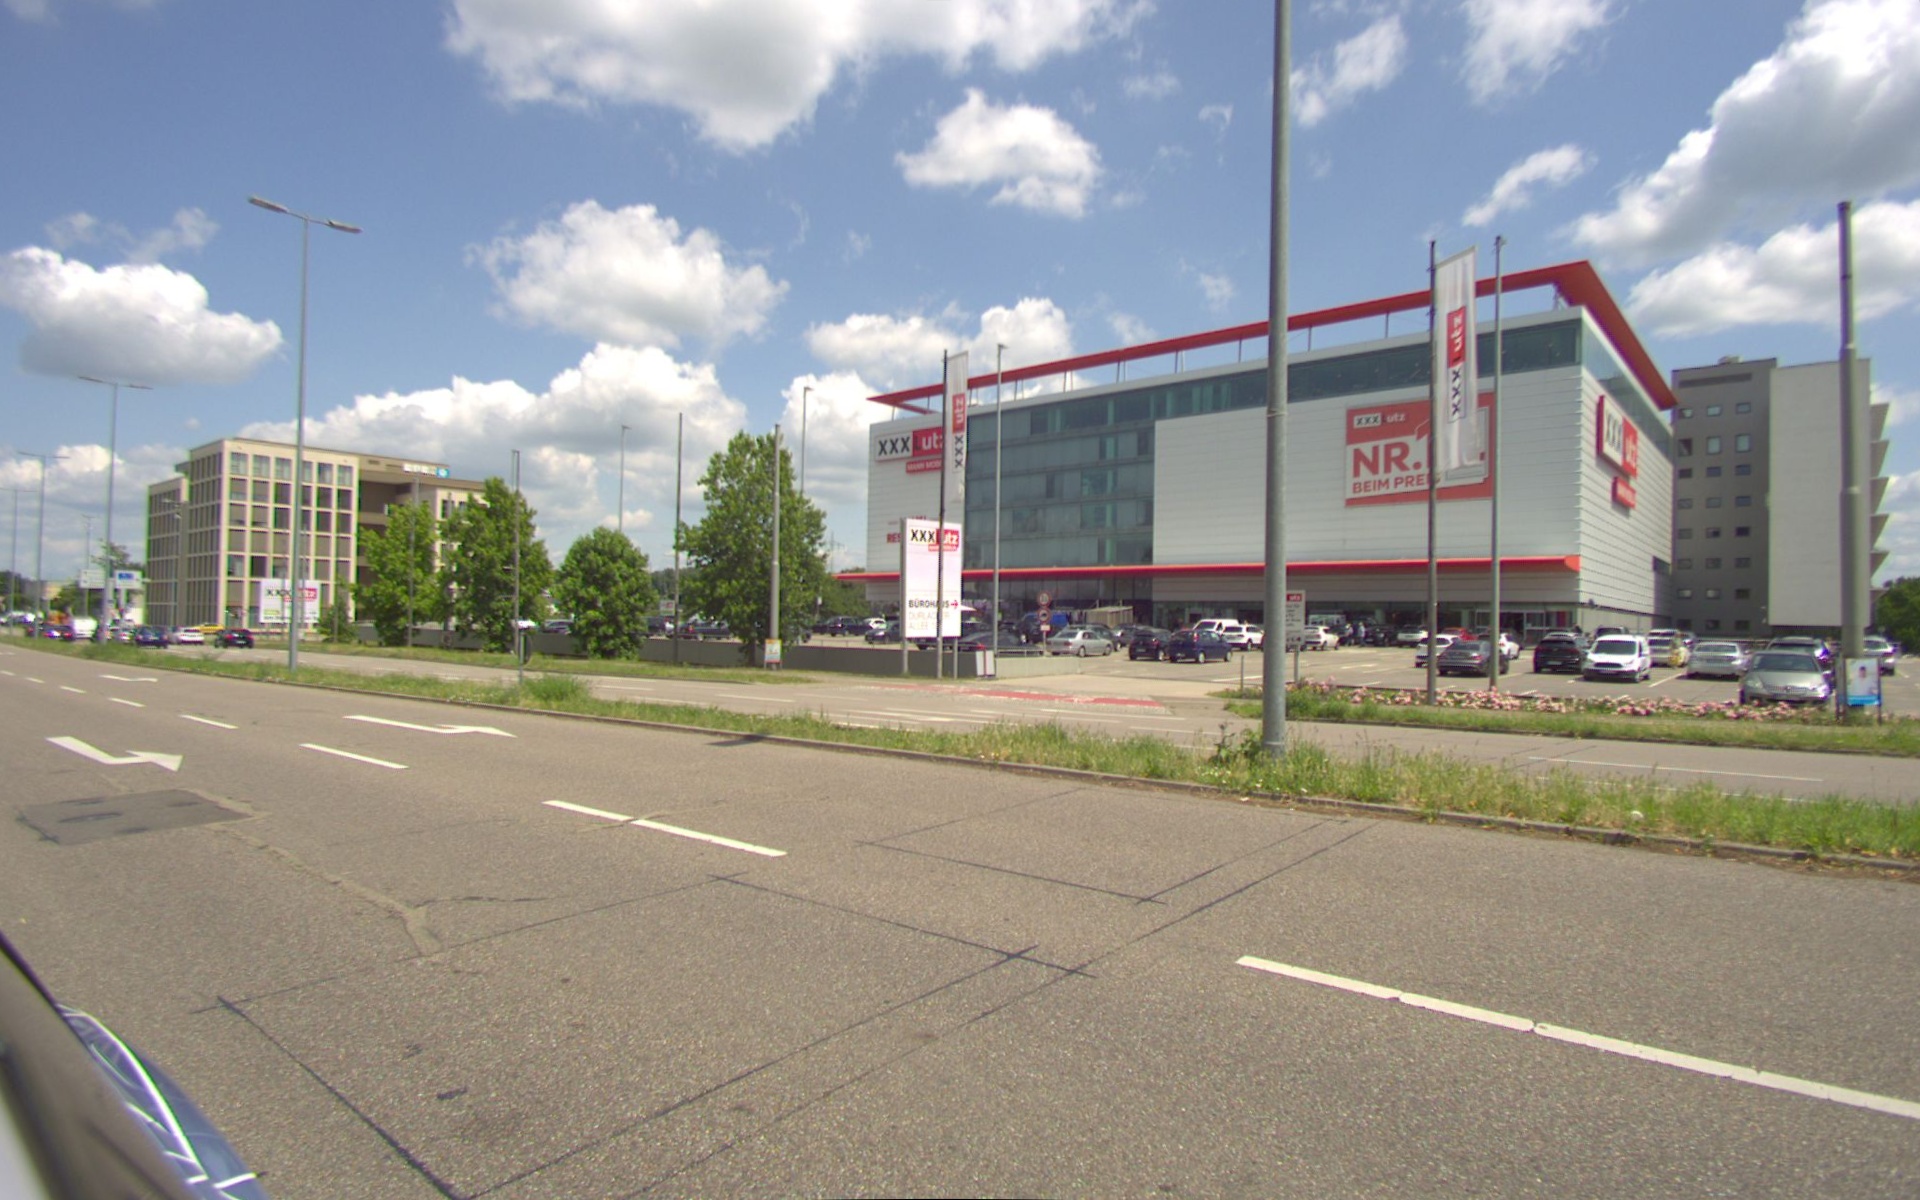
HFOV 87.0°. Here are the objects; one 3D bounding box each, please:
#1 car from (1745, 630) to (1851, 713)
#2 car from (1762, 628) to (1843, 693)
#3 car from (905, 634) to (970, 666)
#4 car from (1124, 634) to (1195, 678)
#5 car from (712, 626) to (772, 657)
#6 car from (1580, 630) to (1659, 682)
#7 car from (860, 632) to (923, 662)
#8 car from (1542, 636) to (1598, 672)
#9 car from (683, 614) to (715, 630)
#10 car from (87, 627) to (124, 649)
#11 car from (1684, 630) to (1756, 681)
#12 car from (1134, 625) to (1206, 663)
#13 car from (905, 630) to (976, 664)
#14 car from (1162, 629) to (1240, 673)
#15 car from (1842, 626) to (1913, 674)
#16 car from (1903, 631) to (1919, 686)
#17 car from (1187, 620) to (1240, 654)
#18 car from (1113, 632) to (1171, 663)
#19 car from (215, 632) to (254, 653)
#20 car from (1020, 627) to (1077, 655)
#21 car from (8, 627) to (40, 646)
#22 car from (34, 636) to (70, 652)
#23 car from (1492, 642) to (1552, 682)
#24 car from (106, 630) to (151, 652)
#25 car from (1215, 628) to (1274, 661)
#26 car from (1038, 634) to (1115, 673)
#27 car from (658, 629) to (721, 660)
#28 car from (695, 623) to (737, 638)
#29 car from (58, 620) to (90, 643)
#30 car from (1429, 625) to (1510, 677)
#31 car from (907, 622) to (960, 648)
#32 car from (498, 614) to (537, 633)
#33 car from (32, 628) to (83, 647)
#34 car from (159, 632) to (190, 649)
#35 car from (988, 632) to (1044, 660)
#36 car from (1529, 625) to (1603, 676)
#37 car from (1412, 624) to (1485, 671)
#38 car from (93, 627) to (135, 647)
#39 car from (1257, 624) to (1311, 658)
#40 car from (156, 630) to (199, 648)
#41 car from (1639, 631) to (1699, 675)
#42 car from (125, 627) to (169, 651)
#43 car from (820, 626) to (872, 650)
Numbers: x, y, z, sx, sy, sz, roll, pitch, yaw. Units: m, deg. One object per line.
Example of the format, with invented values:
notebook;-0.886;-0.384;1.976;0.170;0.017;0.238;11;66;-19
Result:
car;22.275;1.832;26.932;1.998;2.004;4.304;-1;-3;40
car;28.490;1.976;34.240;1.999;2.004;4.535;0;-1;40
car;-1.472;3.376;68.174;1.998;2.065;4.304;-1;-3;40
car;10.068;2.777;51.001;1.841;2.004;4.030;-1;-1;40
car;-17.040;3.236;79.332;1.998;2.347;4.304;-1;-3;40
car;25.020;2.078;38.352;1.998;1.853;4.304;-1;-3;40
car;-4.809;3.335;71.507;1.990;2.058;4.243;-1;-3;40
car;33.754;2.955;55.924;1.998;1.896;4.304;-1;-3;40
car;-31.467;2.715;121.949;3.830;1.847;1.831;-2;-4;40
car;-69.041;3.090;81.762;4.227;1.714;1.772;-2;-4;43
car;29.908;2.153;39.780;1.998;1.896;4.304;-1;-3;40
car;11.750;2.442;56.421;1.998;2.029;4.764;-1;-3;39
car;-1.159;2.832;61.324;1.998;2.004;4.304;-1;-3;40
car;11.763;2.437;49.264;1.998;2.004;4.304;-1;-2;40
car;40.167;2.183;44.411;1.998;2.004;4.566;-1;-3;39
car;35.361;2.084;35.507;1.991;2.004;5.257;-1;-2;28
car;18.031;2.617;71.843;1.868;2.324;4.510;-1;-3;40
car;12.425;3.245;68.999;1.999;2.004;4.302;-2;-4;42
car;-52.622;3.096;73.381;4.118;1.481;1.601;-2;-4;45
car;6.489;2.995;73.813;1.998;2.004;4.304;-1;-3;40
car;-81.818;3.193;88.438;4.172;1.657;1.771;-3;-4;44
car;-72.454;3.529;80.753;4.307;1.260;1.772;-2;-4;43
car;29.978;3.261;53.940;1.998;2.004;4.304;-1;-3;40
car;-59.503;2.919;72.406;4.674;1.429;1.772;-2;-6;43
car;18.032;2.798;64.057;1.998;2.004;4.304;-1;-3;40
car;6.231;2.822;53.785;1.998;2.004;4.304;-1;-3;40
car;-21.025;3.445;78.749;1.998;2.347;4.304;-1;-3;40
car;-24.574;3.081;102.052;1.856;1.481;3.778;-2;-4;43
car;-79.581;2.844;90.920;3.577;2.059;1.836;-3;-4;44
car;20.620;2.043;40.894;1.998;2.004;4.304;-1;-3;40
car;-2.145;2.885;82.856;1.998;2.004;4.304;-1;-3;40
car;-46.061;2.474;105.220;4.671;1.847;1.831;-2;-4;41
car;-76.256;3.199;85.514;3.747;1.572;1.783;-1;-3;24
car;-68.972;3.584;88.852;4.585;1.402;1.600;-3;-4;45
car;4.233;3.387;75.398;1.998;2.004;4.304;-1;-3;40
car;25.691;2.117;42.836;1.998;2.004;4.304;-1;-3;40
car;22.501;2.157;46.529;1.999;2.004;4.304;1;-1;40
car;-64.314;2.820;76.902;4.845;1.413;1.772;-2;-5;43
car;19.886;2.508;62.087;1.776;2.029;3.946;-2;-3;40
car;-64.486;3.223;83.373;4.350;1.484;1.605;-2;-4;36
car;34.262;2.520;48.865;1.999;2.004;4.031;-1;-3;40
car;-53.317;2.527;66.360;3.677;1.486;1.719;-1;-3;44
car;-9.902;3.283;87.985;1.998;2.004;4.304;-1;-3;40
